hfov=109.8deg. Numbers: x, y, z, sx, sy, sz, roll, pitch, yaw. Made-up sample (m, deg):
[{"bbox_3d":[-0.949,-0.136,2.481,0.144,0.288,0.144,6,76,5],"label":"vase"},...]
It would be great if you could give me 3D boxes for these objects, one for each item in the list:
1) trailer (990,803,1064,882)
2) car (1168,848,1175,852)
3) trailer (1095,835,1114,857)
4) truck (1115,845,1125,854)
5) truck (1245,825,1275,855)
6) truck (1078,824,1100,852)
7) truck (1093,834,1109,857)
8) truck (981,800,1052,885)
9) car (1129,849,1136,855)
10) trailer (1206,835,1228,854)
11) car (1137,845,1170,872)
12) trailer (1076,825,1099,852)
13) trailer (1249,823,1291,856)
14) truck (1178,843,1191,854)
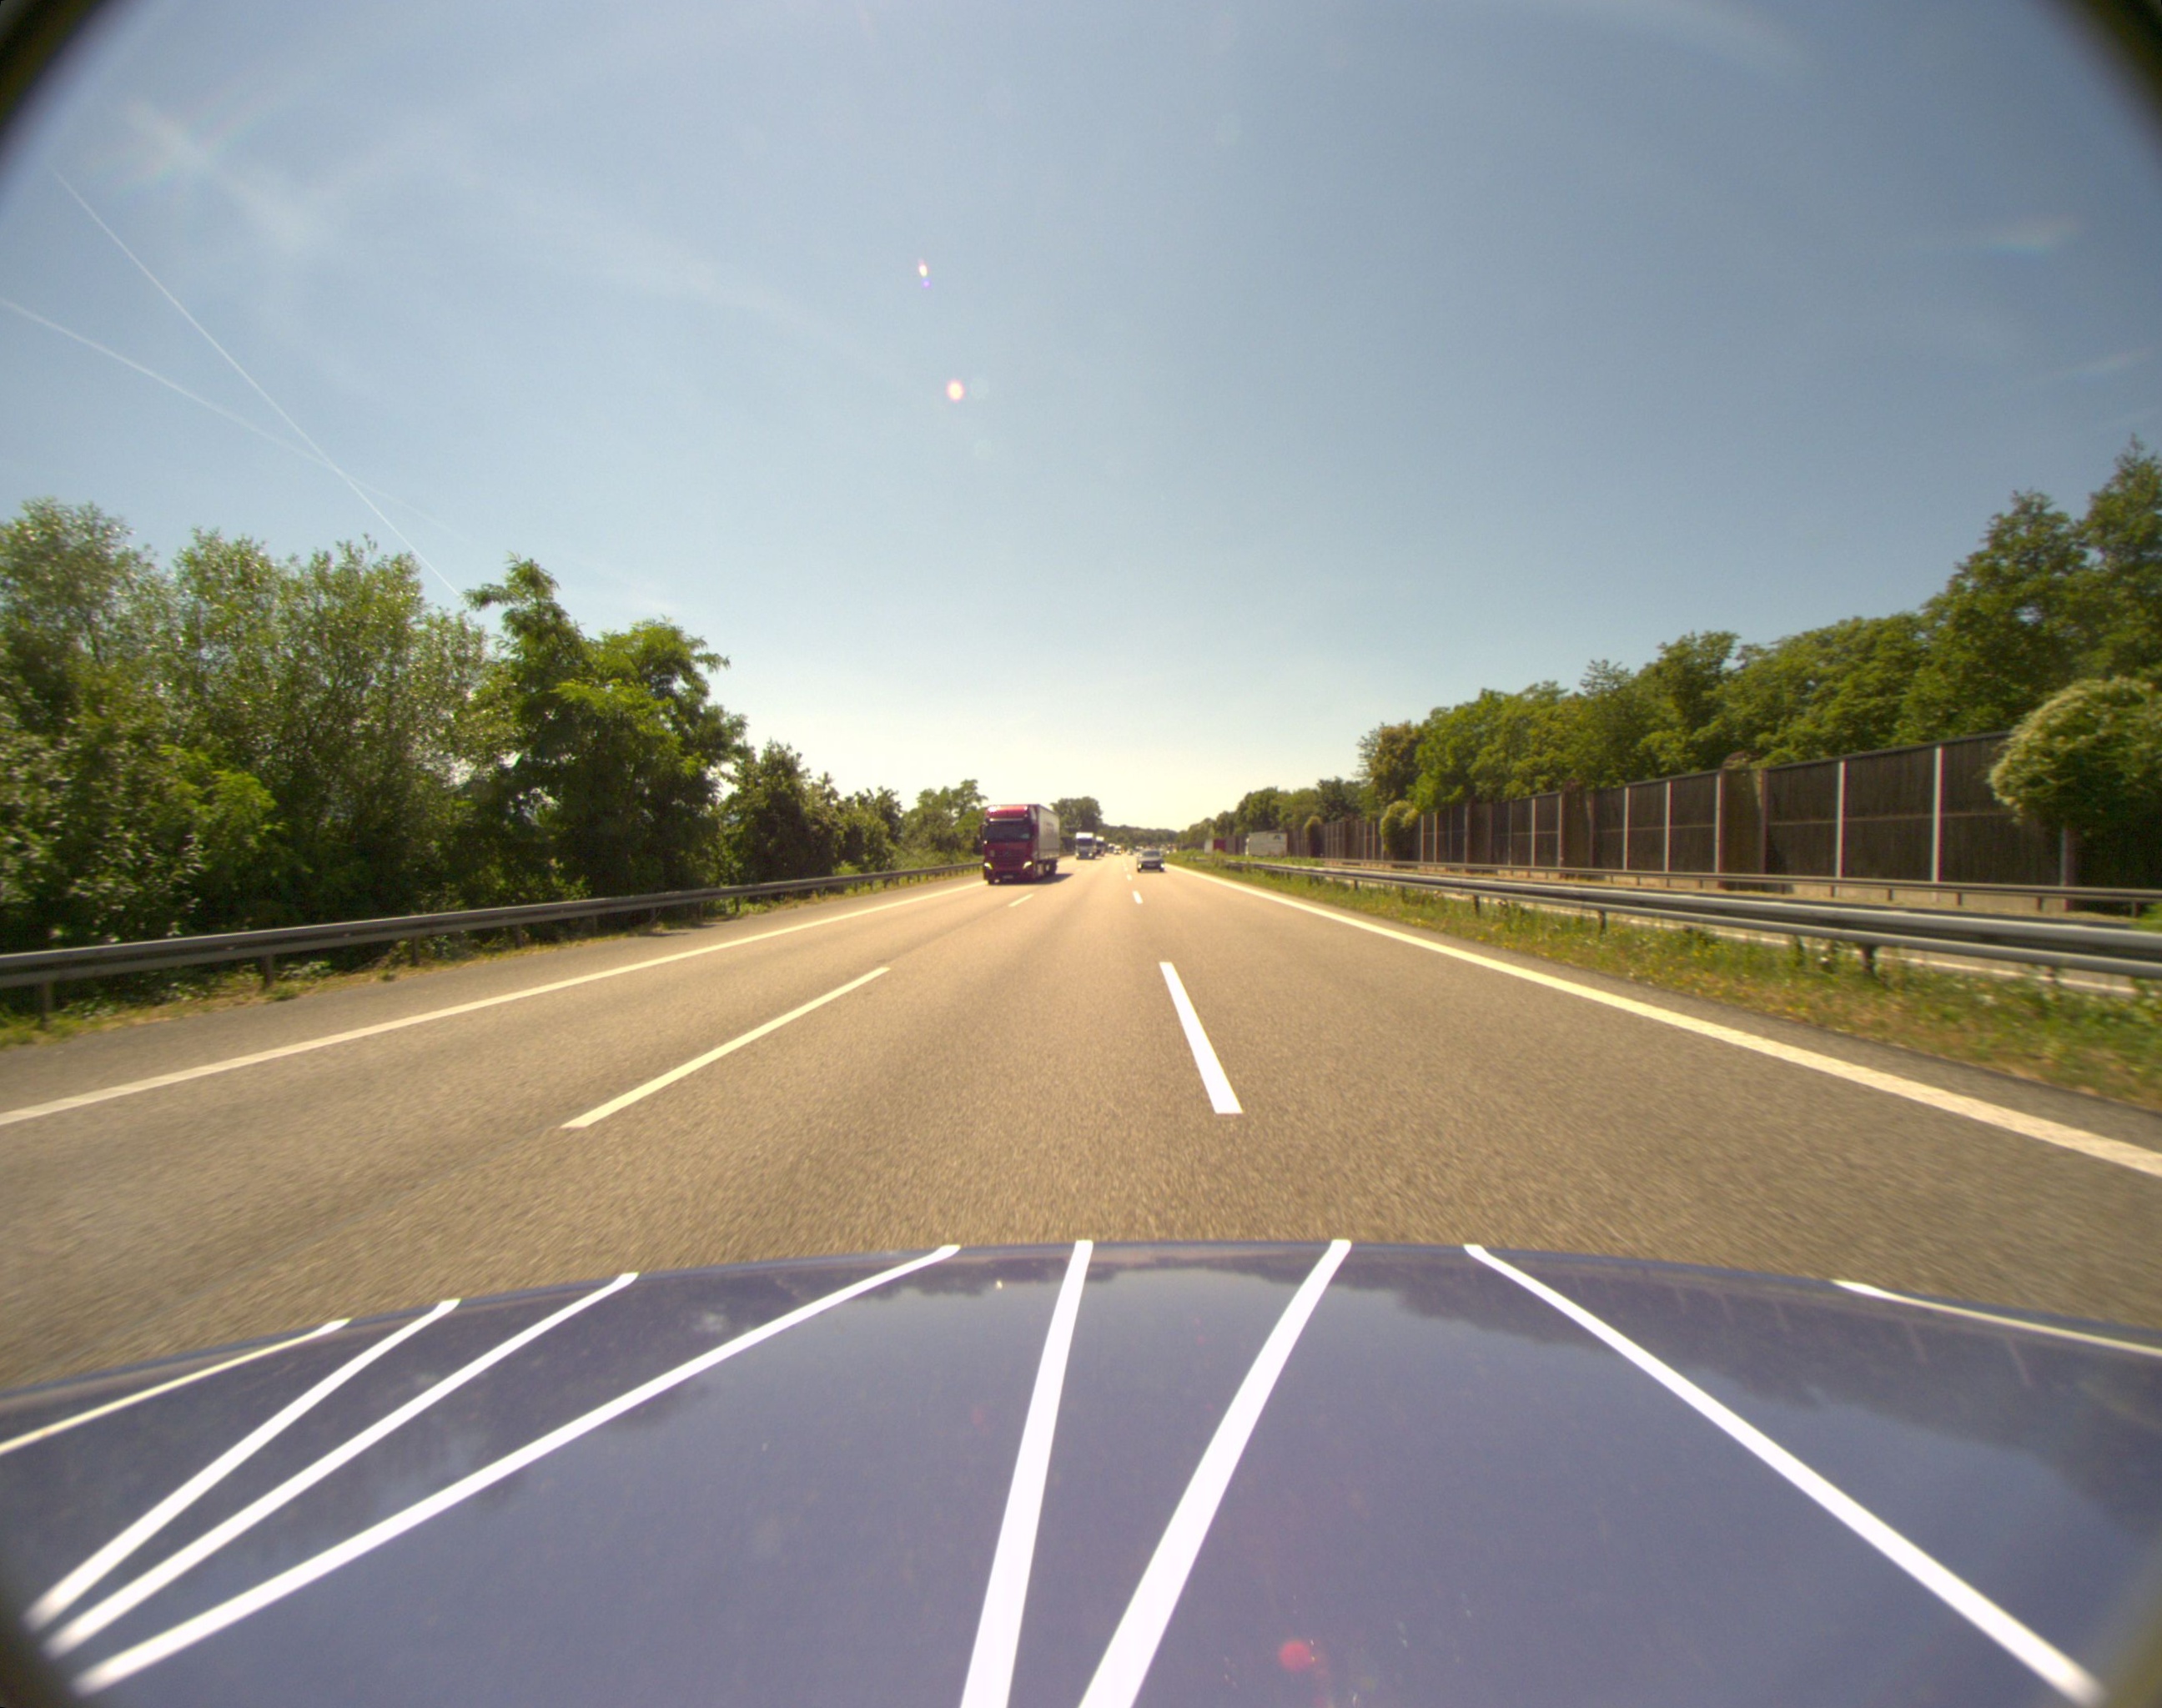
[{"bbox_3d":[-2.925,-0.657,46.120,2.713,4.065,14.152,1,1,3],"label":"trailer"},{"bbox_3d":[31.168,-1.371,262.366,1.998,1.581,4.493,1,1,3],"label":"car"},{"bbox_3d":[5.037,-1.779,162.540,2.540,4.446,14.167,1,1,7],"label":"trailer"},{"bbox_3d":[11.565,-1.335,226.667,2.714,2.712,12.370,1,1,4],"label":"truck"},{"bbox_3d":[25.676,-2.035,109.430,2.840,4.159,7.142,0,1,2],"label":"truck"},{"bbox_3d":[1.146,-2.339,114.590,2.967,4.082,6.205,1,1,-2],"label":"truck"},{"bbox_3d":[4.125,-1.723,155.516,2.540,4.446,5.575,1,1,7],"label":"truck"},{"bbox_3d":[-3.245,-0.597,40.180,2.713,4.065,6.965,1,1,3],"label":"truck"},{"bbox_3d":[15.379,-0.680,227.872,1.908,1.717,4.377,1,1,6],"label":"car"},{"bbox_3d":[28.955,-2.077,162.566,2.741,3.999,14.306,0,1,2],"label":"trailer"},{"bbox_3d":[4.896,0.292,51.923,1.909,1.717,4.376,1,1,2],"label":"car"},{"bbox_3d":[0.945,-2.381,119.694,2.967,4.082,12.528,1,0,-2],"label":"trailer"},{"bbox_3d":[25.397,-1.948,103.013,2.916,4.159,13.312,0,1,2],"label":"trailer"},{"bbox_3d":[34.482,-1.846,254.441,3.097,3.654,12.369,1,1,2],"label":"truck"}]
